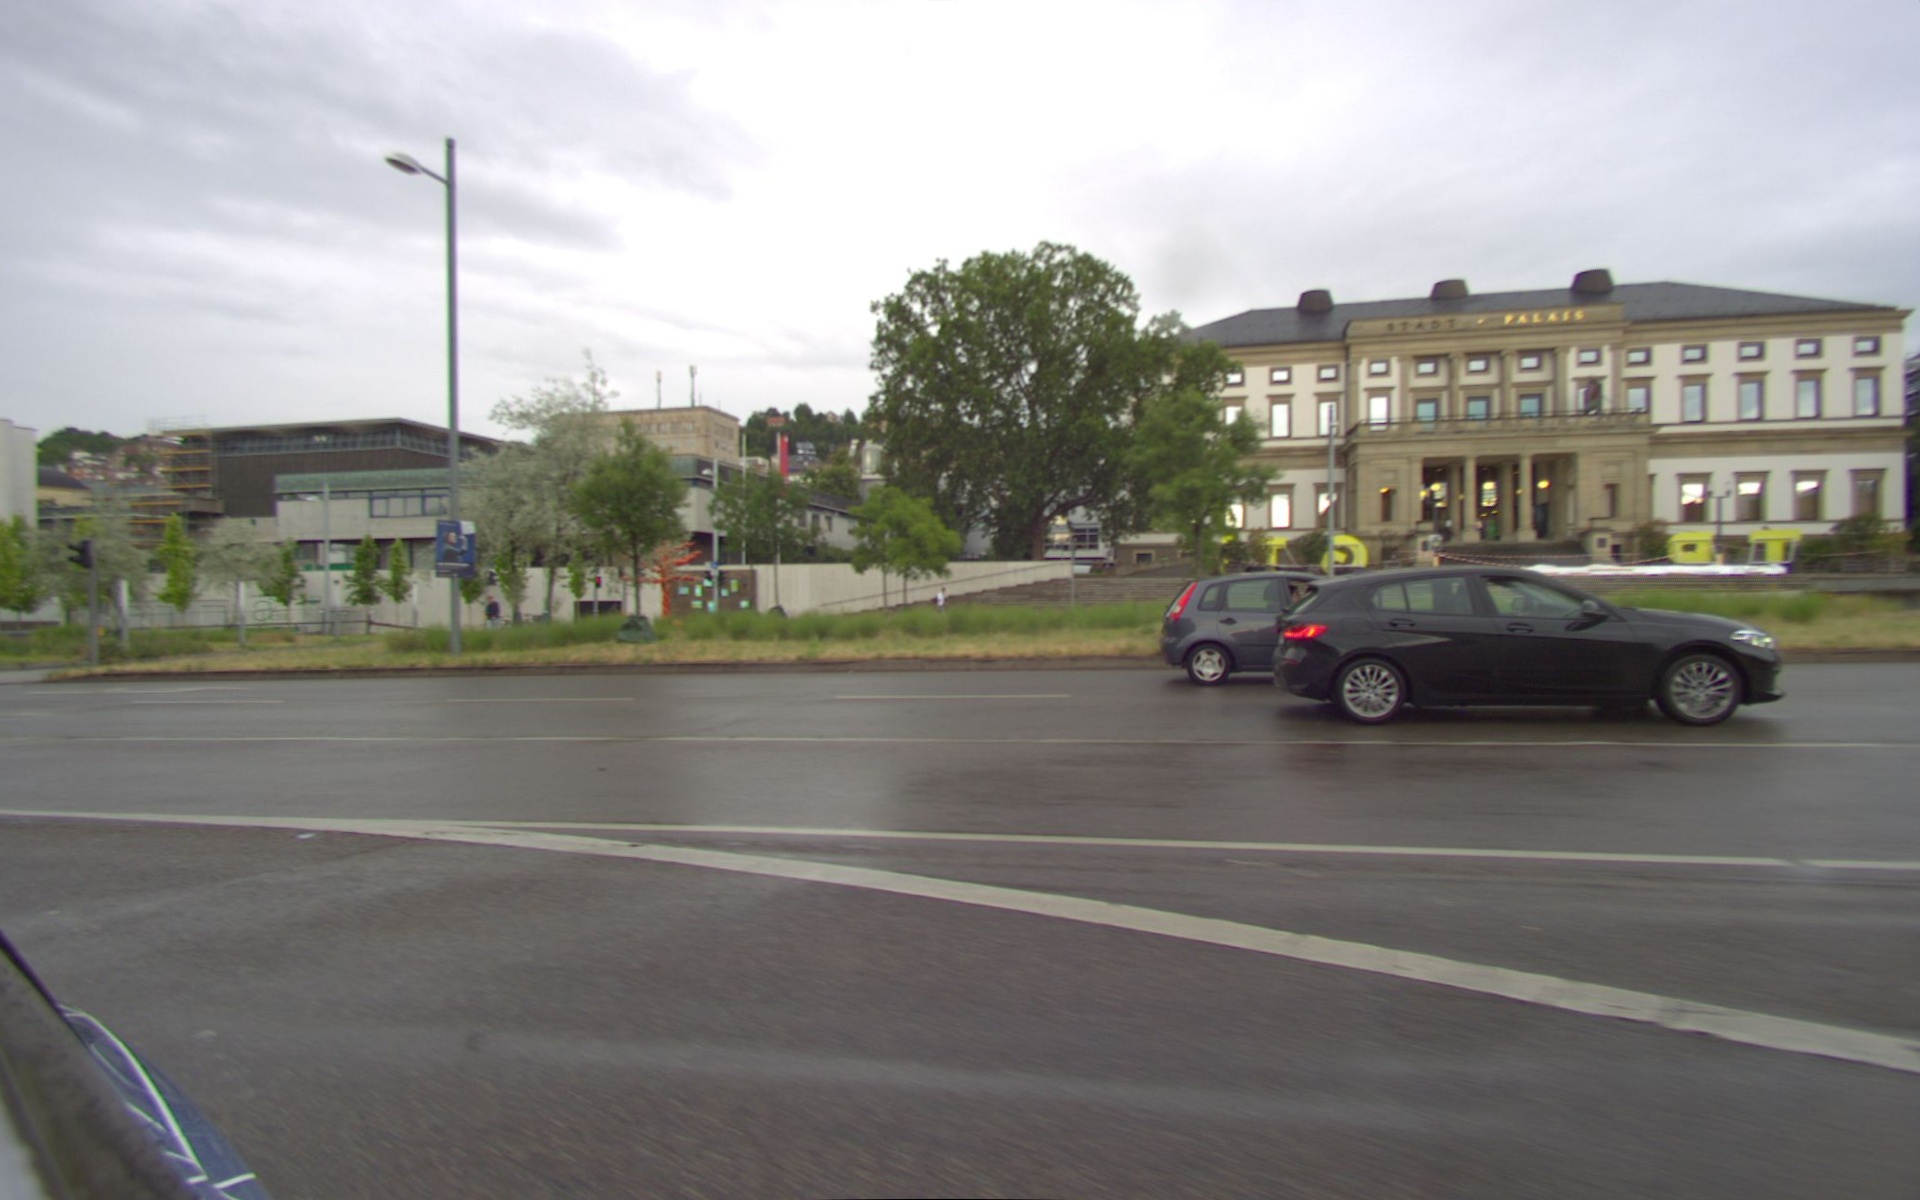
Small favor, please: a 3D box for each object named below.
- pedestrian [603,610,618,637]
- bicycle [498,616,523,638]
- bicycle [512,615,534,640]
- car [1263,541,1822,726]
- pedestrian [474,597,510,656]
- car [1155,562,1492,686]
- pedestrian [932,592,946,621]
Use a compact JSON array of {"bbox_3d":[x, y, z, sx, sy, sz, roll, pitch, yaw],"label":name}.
[{"bbox_3d":[-18.475,1.237,53.516,0.574,1.393,0.464,0,2,27],"label":"pedestrian"},{"bbox_3d":[-25.703,1.516,57.945,0.524,1.170,1.701,0,2,6],"label":"bicycle"},{"bbox_3d":[-24.095,1.518,55.821,0.550,1.317,1.481,0,2,0],"label":"bicycle"},{"bbox_3d":[5.129,0.311,9.554,4.181,1.482,1.752,-2,1,14],"label":"car"},{"bbox_3d":[-17.442,0.986,37.713,0.720,2.107,0.765,-6,0,19],"label":"pedestrian"},{"bbox_3d":[4.556,0.299,13.146,3.864,1.426,1.540,-2,1,15],"label":"car"},{"bbox_3d":[-1.086,0.336,51.630,0.626,1.433,0.492,0,2,11],"label":"pedestrian"}]
